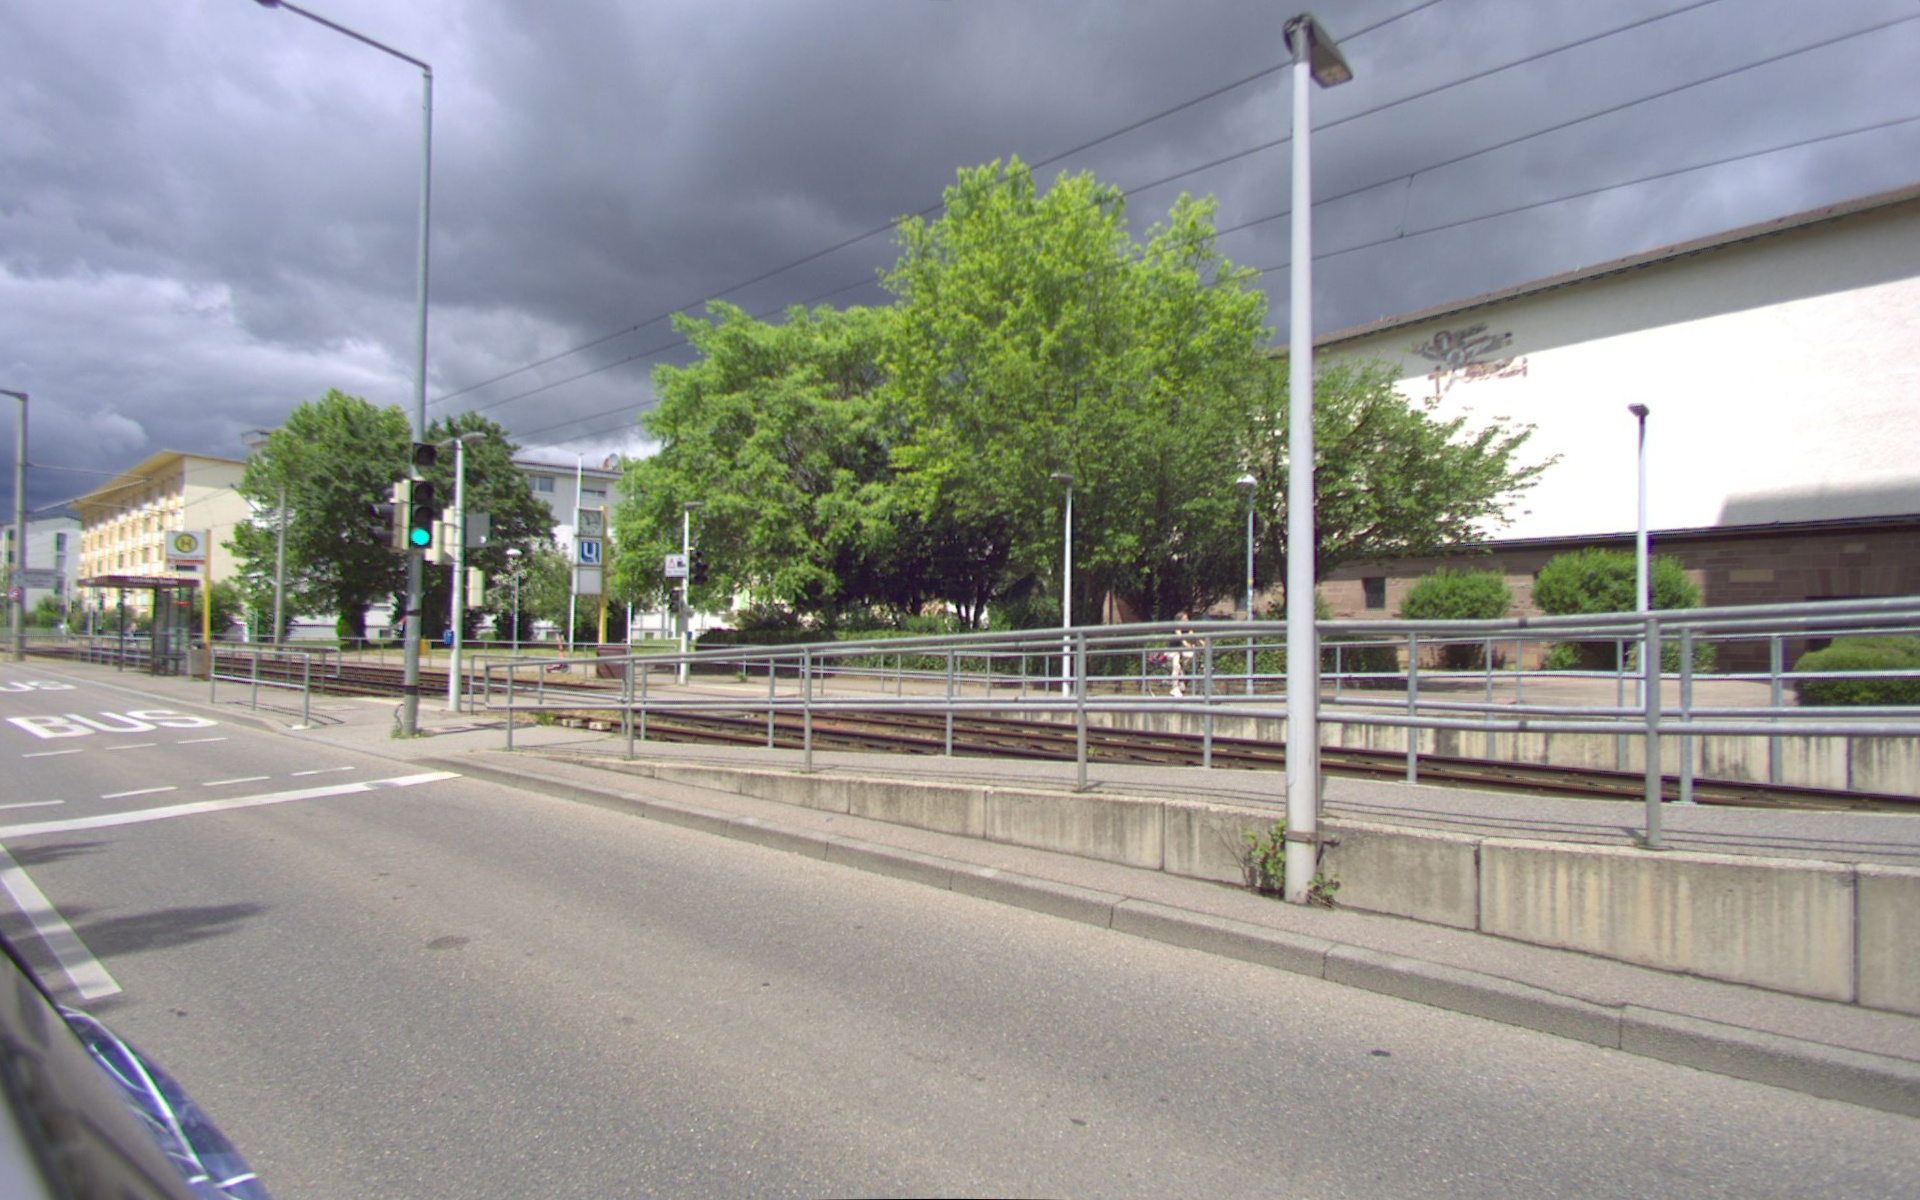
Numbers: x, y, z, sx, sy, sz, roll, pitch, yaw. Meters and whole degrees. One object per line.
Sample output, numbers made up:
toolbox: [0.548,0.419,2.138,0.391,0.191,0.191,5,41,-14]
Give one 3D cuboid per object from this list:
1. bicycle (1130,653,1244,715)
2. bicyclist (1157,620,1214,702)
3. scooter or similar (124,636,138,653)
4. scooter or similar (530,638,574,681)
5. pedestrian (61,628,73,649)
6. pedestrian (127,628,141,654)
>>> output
bicycle: [4.069,1.480,18.213,1.927,1.001,0.631,-1,-1,41]
bicyclist: [4.062,1.079,18.247,0.790,1.440,0.626,-2,-1,41]
scooter or similar: [-56.044,3.016,68.410,0.891,1.172,0.602,-2,-2,41]
scooter or similar: [-12.066,1.751,29.909,1.400,1.246,0.642,-3,-2,42]
pedestrian: [-69.265,3.004,78.488,0.773,1.620,0.598,-2,-1,39]
pedestrian: [-55.435,2.738,67.912,0.679,1.705,0.638,-2,-2,41]
